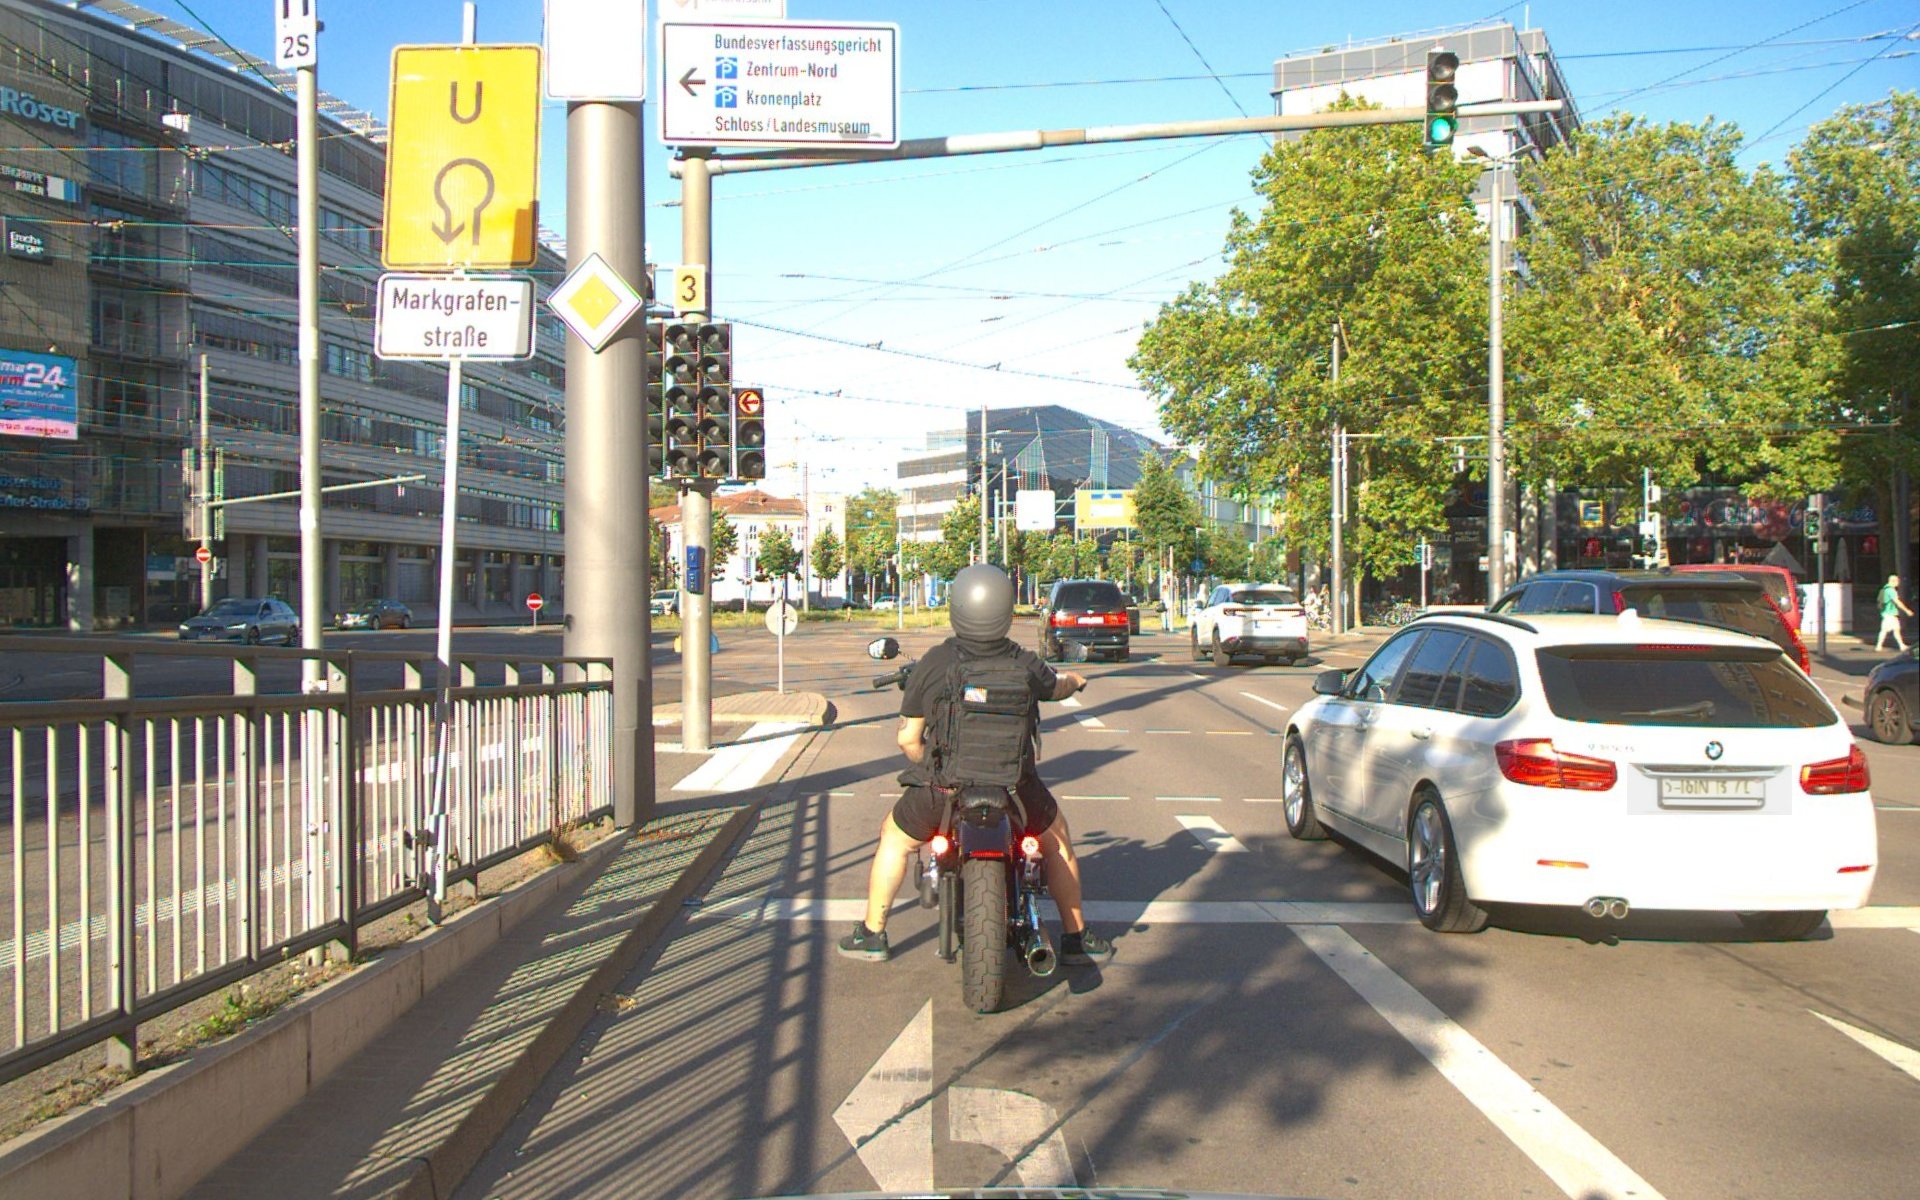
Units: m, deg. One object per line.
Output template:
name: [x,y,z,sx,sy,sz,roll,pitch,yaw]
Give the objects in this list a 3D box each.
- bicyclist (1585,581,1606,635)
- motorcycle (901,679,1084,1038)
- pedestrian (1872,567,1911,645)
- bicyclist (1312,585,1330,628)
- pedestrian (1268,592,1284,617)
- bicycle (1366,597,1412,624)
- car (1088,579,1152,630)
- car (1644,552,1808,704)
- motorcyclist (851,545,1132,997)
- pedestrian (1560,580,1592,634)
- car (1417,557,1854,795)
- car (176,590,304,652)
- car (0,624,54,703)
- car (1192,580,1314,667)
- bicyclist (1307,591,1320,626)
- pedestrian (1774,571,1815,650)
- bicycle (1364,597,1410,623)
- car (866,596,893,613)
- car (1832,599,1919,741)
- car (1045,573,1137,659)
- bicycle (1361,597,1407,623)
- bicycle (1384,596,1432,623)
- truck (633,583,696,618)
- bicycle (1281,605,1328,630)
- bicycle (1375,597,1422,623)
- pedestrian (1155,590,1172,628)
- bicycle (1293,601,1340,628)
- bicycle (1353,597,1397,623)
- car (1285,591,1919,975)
bicyclist: [22.250,0.283,57.939,0.572,1.870,0.402,1,-1,-1]
motorcycle: [0.090,0.909,6.582,0.588,1.054,2.233,1,0,-1]
pedestrian: [20.949,0.145,37.203,0.626,1.729,0.723,1,-1,19]
bicyclist: [14.507,0.259,66.442,0.673,1.702,0.541,0,-1,18]
pedestrian: [17.607,0.248,92.152,0.802,1.337,0.638,1,-1,8]
bicycle: [18.091,0.444,69.801,1.842,1.064,0.360,1,-1,-2]
car: [5.709,0.179,59.374,1.767,1.708,4.039,1,-1,-2]
car: [11.319,0.402,24.698,1.766,2.044,4.474,-1,-1,19]
motorcyclist: [0.109,0.612,6.397,1.009,1.621,0.873,0,0,-1]
pedestrian: [18.009,0.194,48.328,0.557,1.559,0.698,1,-1,-19]
car: [5.730,0.593,14.742,1.698,1.762,4.607,1,-1,-5]
car: [-19.859,0.569,45.826,1.789,1.596,4.690,-1,0,-4]
car: [-14.536,0.884,23.414,2.835,1.081,1.235,1,-1,-22]
car: [5.893,0.432,33.634,1.696,1.626,4.040,1,1,-1]
bicyclist: [14.009,0.329,65.543,0.374,1.397,0.344,0,-1,33]
pedestrian: [20.594,0.257,40.821,0.774,1.931,0.817,1,-1,19]
bicycle: [18.154,0.436,70.289,1.842,1.064,0.360,1,0,-2]
car: [-7.132,0.372,147.013,1.787,1.455,4.533,0,0,5]
car: [10.908,0.740,16.838,1.698,1.475,4.037,1,-1,-5]
car: [2.762,0.346,35.537,1.766,1.708,4.042,1,-1,2]
bicycle: [18.146,0.434,70.789,1.842,1.064,0.360,1,0,-2]
bicycle: [18.158,0.385,67.017,1.842,1.064,0.360,1,-1,-2]
truck: [-17.152,0.035,96.403,1.951,1.912,5.160,-3,-1,9]
bicycle: [13.691,0.691,65.749,1.794,0.942,0.356,1,-1,34]
bicycle: [18.193,0.424,68.615,1.842,1.064,0.360,1,-1,-2]
pedestrian: [8.559,0.392,69.615,0.576,1.584,0.488,1,-1,-9]
bicycle: [14.328,0.581,66.496,1.831,1.062,0.537,0,-1,18]
bicycle: [18.051,0.432,71.938,1.842,1.064,0.360,1,0,-2]
car: [3.032,0.740,8.707,1.696,1.482,4.417,1,-1,-1]
